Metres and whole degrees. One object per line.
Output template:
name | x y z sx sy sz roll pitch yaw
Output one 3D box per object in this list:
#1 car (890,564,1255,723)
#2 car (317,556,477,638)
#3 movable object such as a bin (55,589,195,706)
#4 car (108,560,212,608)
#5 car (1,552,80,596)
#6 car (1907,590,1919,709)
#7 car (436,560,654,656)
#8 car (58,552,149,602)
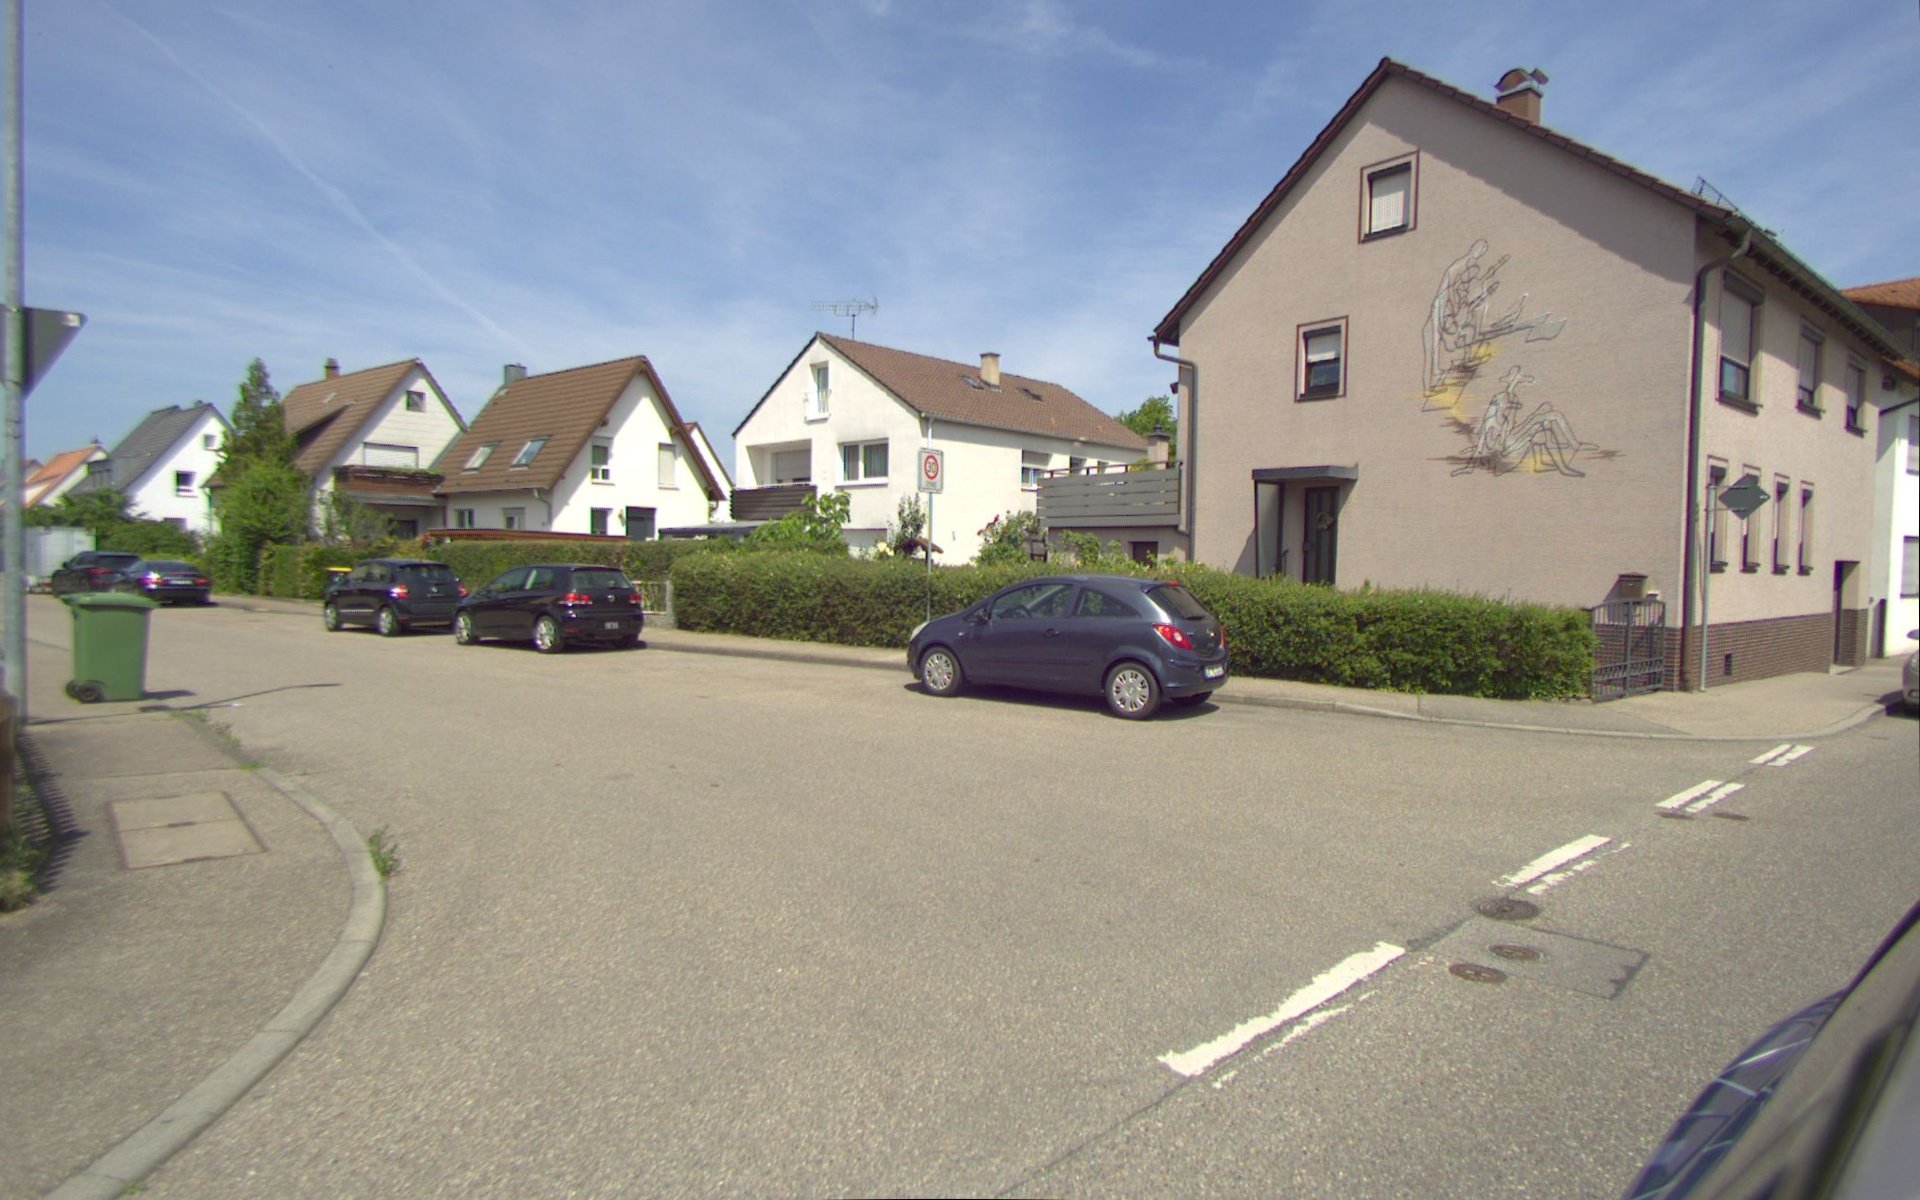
car | 1.232 0.364 11.726 3.793 1.506 1.866 2 2 36
car | -11.725 -0.110 21.029 3.425 1.553 1.627 2 1 36
movable object such as a bin | -8.526 0.458 10.356 0.494 1.109 1.001 2 2 30
car | -24.148 -0.507 30.524 3.425 1.342 1.627 2 1 36
car | -36.099 -1.030 39.719 3.425 1.622 1.627 2 1 36
car | 13.848 0.610 13.100 4.259 1.460 1.789 0 1 -40
car | -7.415 0.069 17.964 3.885 1.506 1.831 2 1 36
car | -29.485 -0.801 34.804 3.425 1.622 1.627 2 1 36
